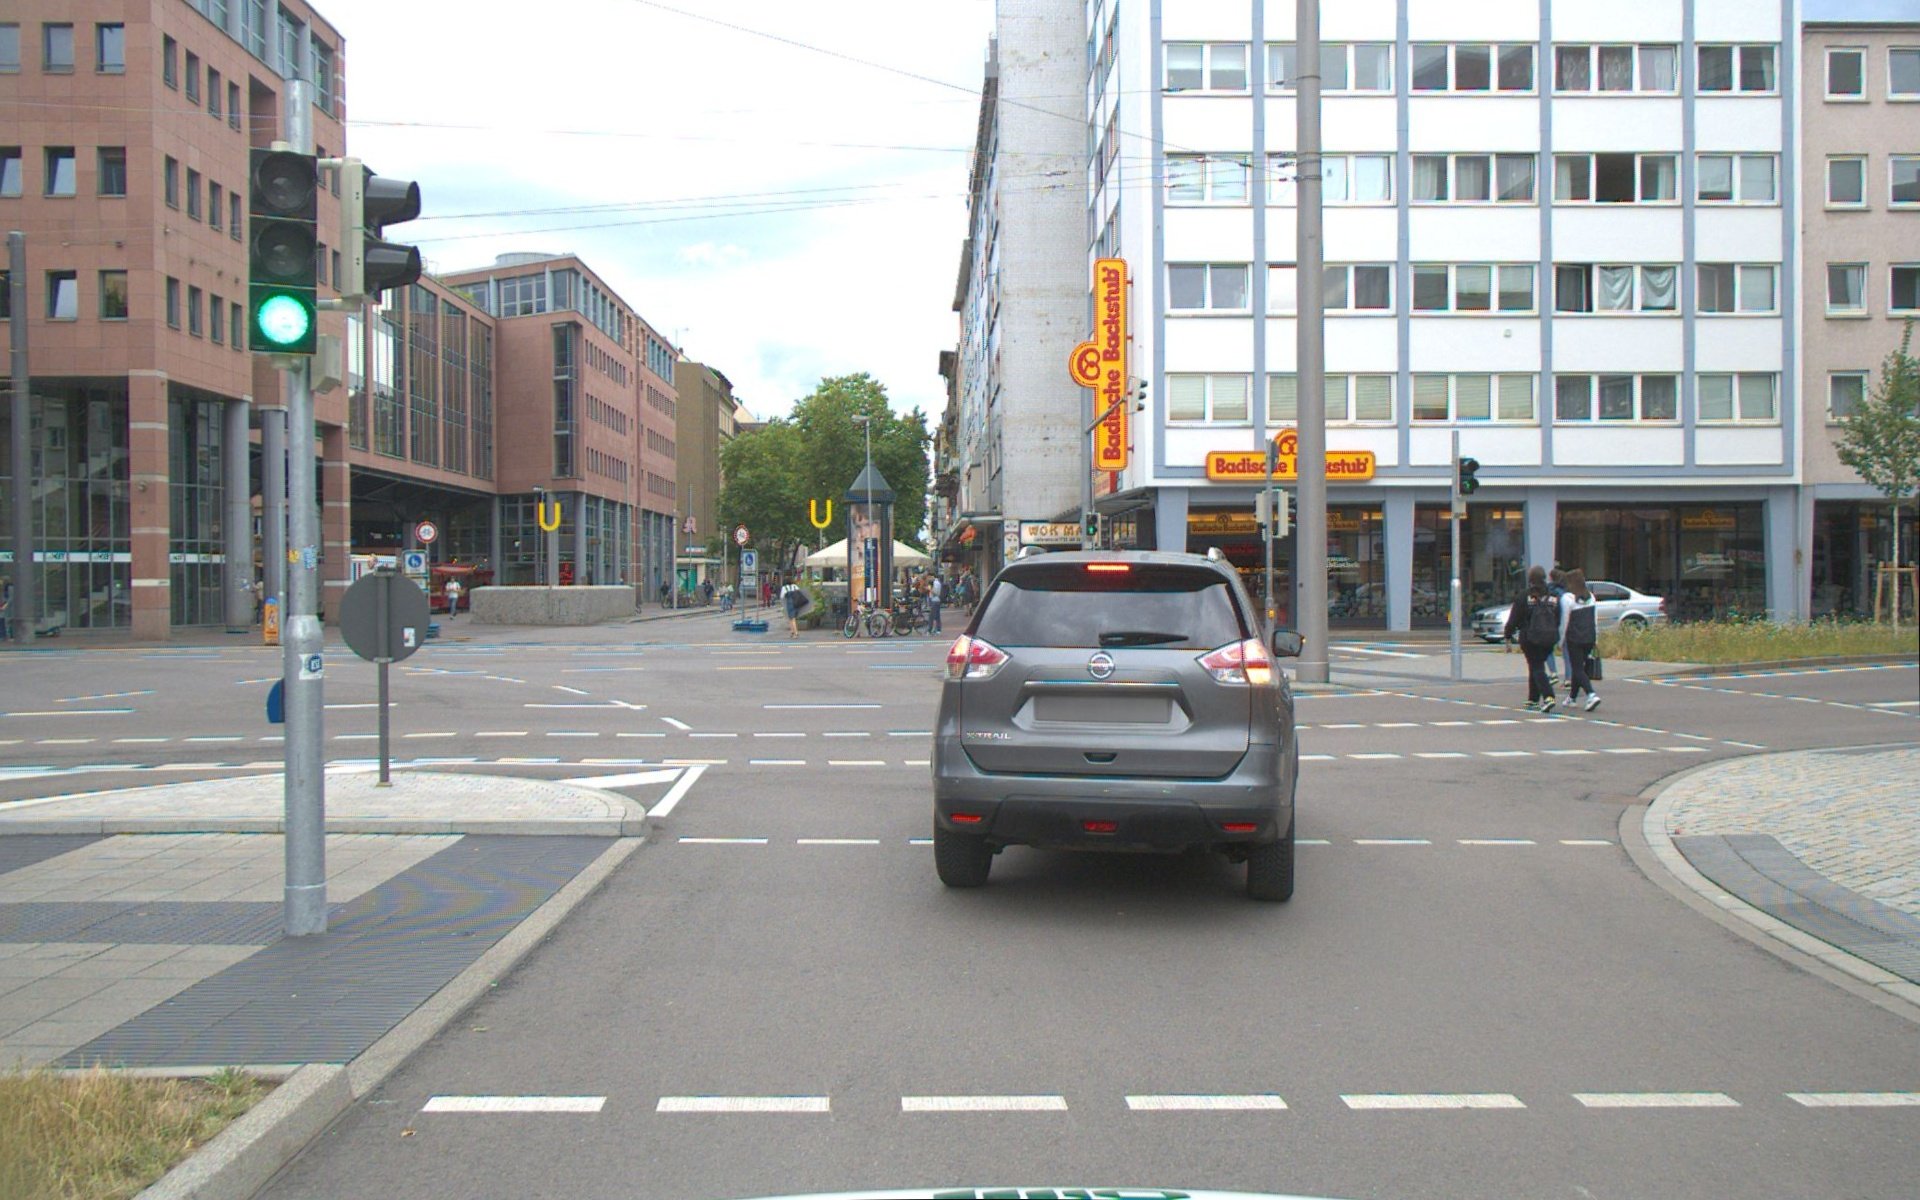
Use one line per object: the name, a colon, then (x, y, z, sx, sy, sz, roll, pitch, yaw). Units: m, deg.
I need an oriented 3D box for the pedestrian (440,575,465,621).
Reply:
pedestrian: (-20.929, -0.092, 68.254, 0.685, 1.874, 0.735, 1, 0, 18)

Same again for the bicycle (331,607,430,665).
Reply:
bicycle: (-11.395, 0.677, 32.428, 0.895, 1.063, 3.234, 0, 0, -37)

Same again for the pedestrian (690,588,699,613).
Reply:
pedestrian: (-18.521, 0.013, 115.335, 0.589, 1.744, 0.654, 0, 0, -9)

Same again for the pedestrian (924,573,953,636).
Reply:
pedestrian: (-0.597, 0.125, 46.597, 0.718, 1.776, 0.662, 0, 0, -10)

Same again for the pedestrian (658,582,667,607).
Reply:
pedestrian: (-20.993, -0.400, 116.640, 0.589, 1.744, 0.654, 0, 0, -9)

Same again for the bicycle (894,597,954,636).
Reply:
bicycle: (-1.021, 0.474, 46.933, 1.660, 1.084, 0.437, 0, 0, 5)

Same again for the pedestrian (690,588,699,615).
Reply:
pedestrian: (-17.249, 0.085, 107.390, 0.589, 1.744, 0.654, 0, 0, -9)

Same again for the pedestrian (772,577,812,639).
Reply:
pedestrian: (-4.762, 0.207, 46.871, 0.906, 1.734, 0.735, 1, 0, 18)

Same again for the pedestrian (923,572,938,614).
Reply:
pedestrian: (-1.236, -0.286, 69.483, 0.630, 1.734, 0.559, 0, 0, -1)

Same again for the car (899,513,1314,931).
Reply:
car: (1.049, 0.521, 9.560, 1.823, 1.806, 4.571, 0, 0, 11)

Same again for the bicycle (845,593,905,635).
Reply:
bicycle: (-2.438, 0.408, 47.403, 1.664, 1.192, 0.436, 0, 0, -9)

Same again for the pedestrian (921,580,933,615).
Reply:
pedestrian: (-1.660, -0.130, 84.118, 0.599, 1.734, 0.619, 0, 0, -1)

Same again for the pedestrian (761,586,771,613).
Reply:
pedestrian: (-12.621, -0.004, 107.651, 0.589, 1.744, 0.654, 0, 0, -9)

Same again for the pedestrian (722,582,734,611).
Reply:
pedestrian: (-12.718, -0.208, 90.647, 0.589, 1.563, 0.654, 0, 0, -9)

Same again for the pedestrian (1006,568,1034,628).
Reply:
pedestrian: (1.771, -0.070, 48.727, 0.695, 1.734, 0.735, 0, 0, 11)

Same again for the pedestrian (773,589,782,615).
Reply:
pedestrian: (-11.907, 0.126, 107.886, 0.589, 1.744, 0.654, 0, 0, -9)

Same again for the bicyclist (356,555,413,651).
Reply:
bicyclist: (-11.248, 0.054, 32.314, 0.828, 1.844, 0.866, 0, 0, -37)

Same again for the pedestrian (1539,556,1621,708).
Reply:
pedestrian: (7.458, 0.377, 19.906, 0.610, 1.792, 0.778, 0, 0, -9)

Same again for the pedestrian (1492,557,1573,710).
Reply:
pedestrian: (6.851, 0.394, 19.812, 0.610, 1.792, 0.778, 0, 0, -9)

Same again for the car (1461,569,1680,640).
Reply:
car: (14.206, 0.100, 38.583, 4.462, 1.507, 1.747, -1, 0, -4)

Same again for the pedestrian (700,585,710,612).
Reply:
pedestrian: (-16.437, -0.092, 106.648, 0.589, 1.744, 0.654, 0, 0, -9)

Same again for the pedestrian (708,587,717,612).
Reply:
pedestrian: (-17.606, -0.025, 117.643, 0.589, 1.744, 0.654, 0, 0, -9)

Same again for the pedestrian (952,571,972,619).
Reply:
pedestrian: (0.092, -0.202, 64.671, 0.723, 1.853, 0.662, -1, 0, -4)

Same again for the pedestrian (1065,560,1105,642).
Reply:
pedestrian: (2.889, 0.021, 38.349, 0.699, 1.864, 1.015, 0, 0, -9)

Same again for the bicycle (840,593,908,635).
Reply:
bicycle: (-2.426, 0.393, 46.704, 1.837, 1.192, 0.529, 0, 0, -16)
